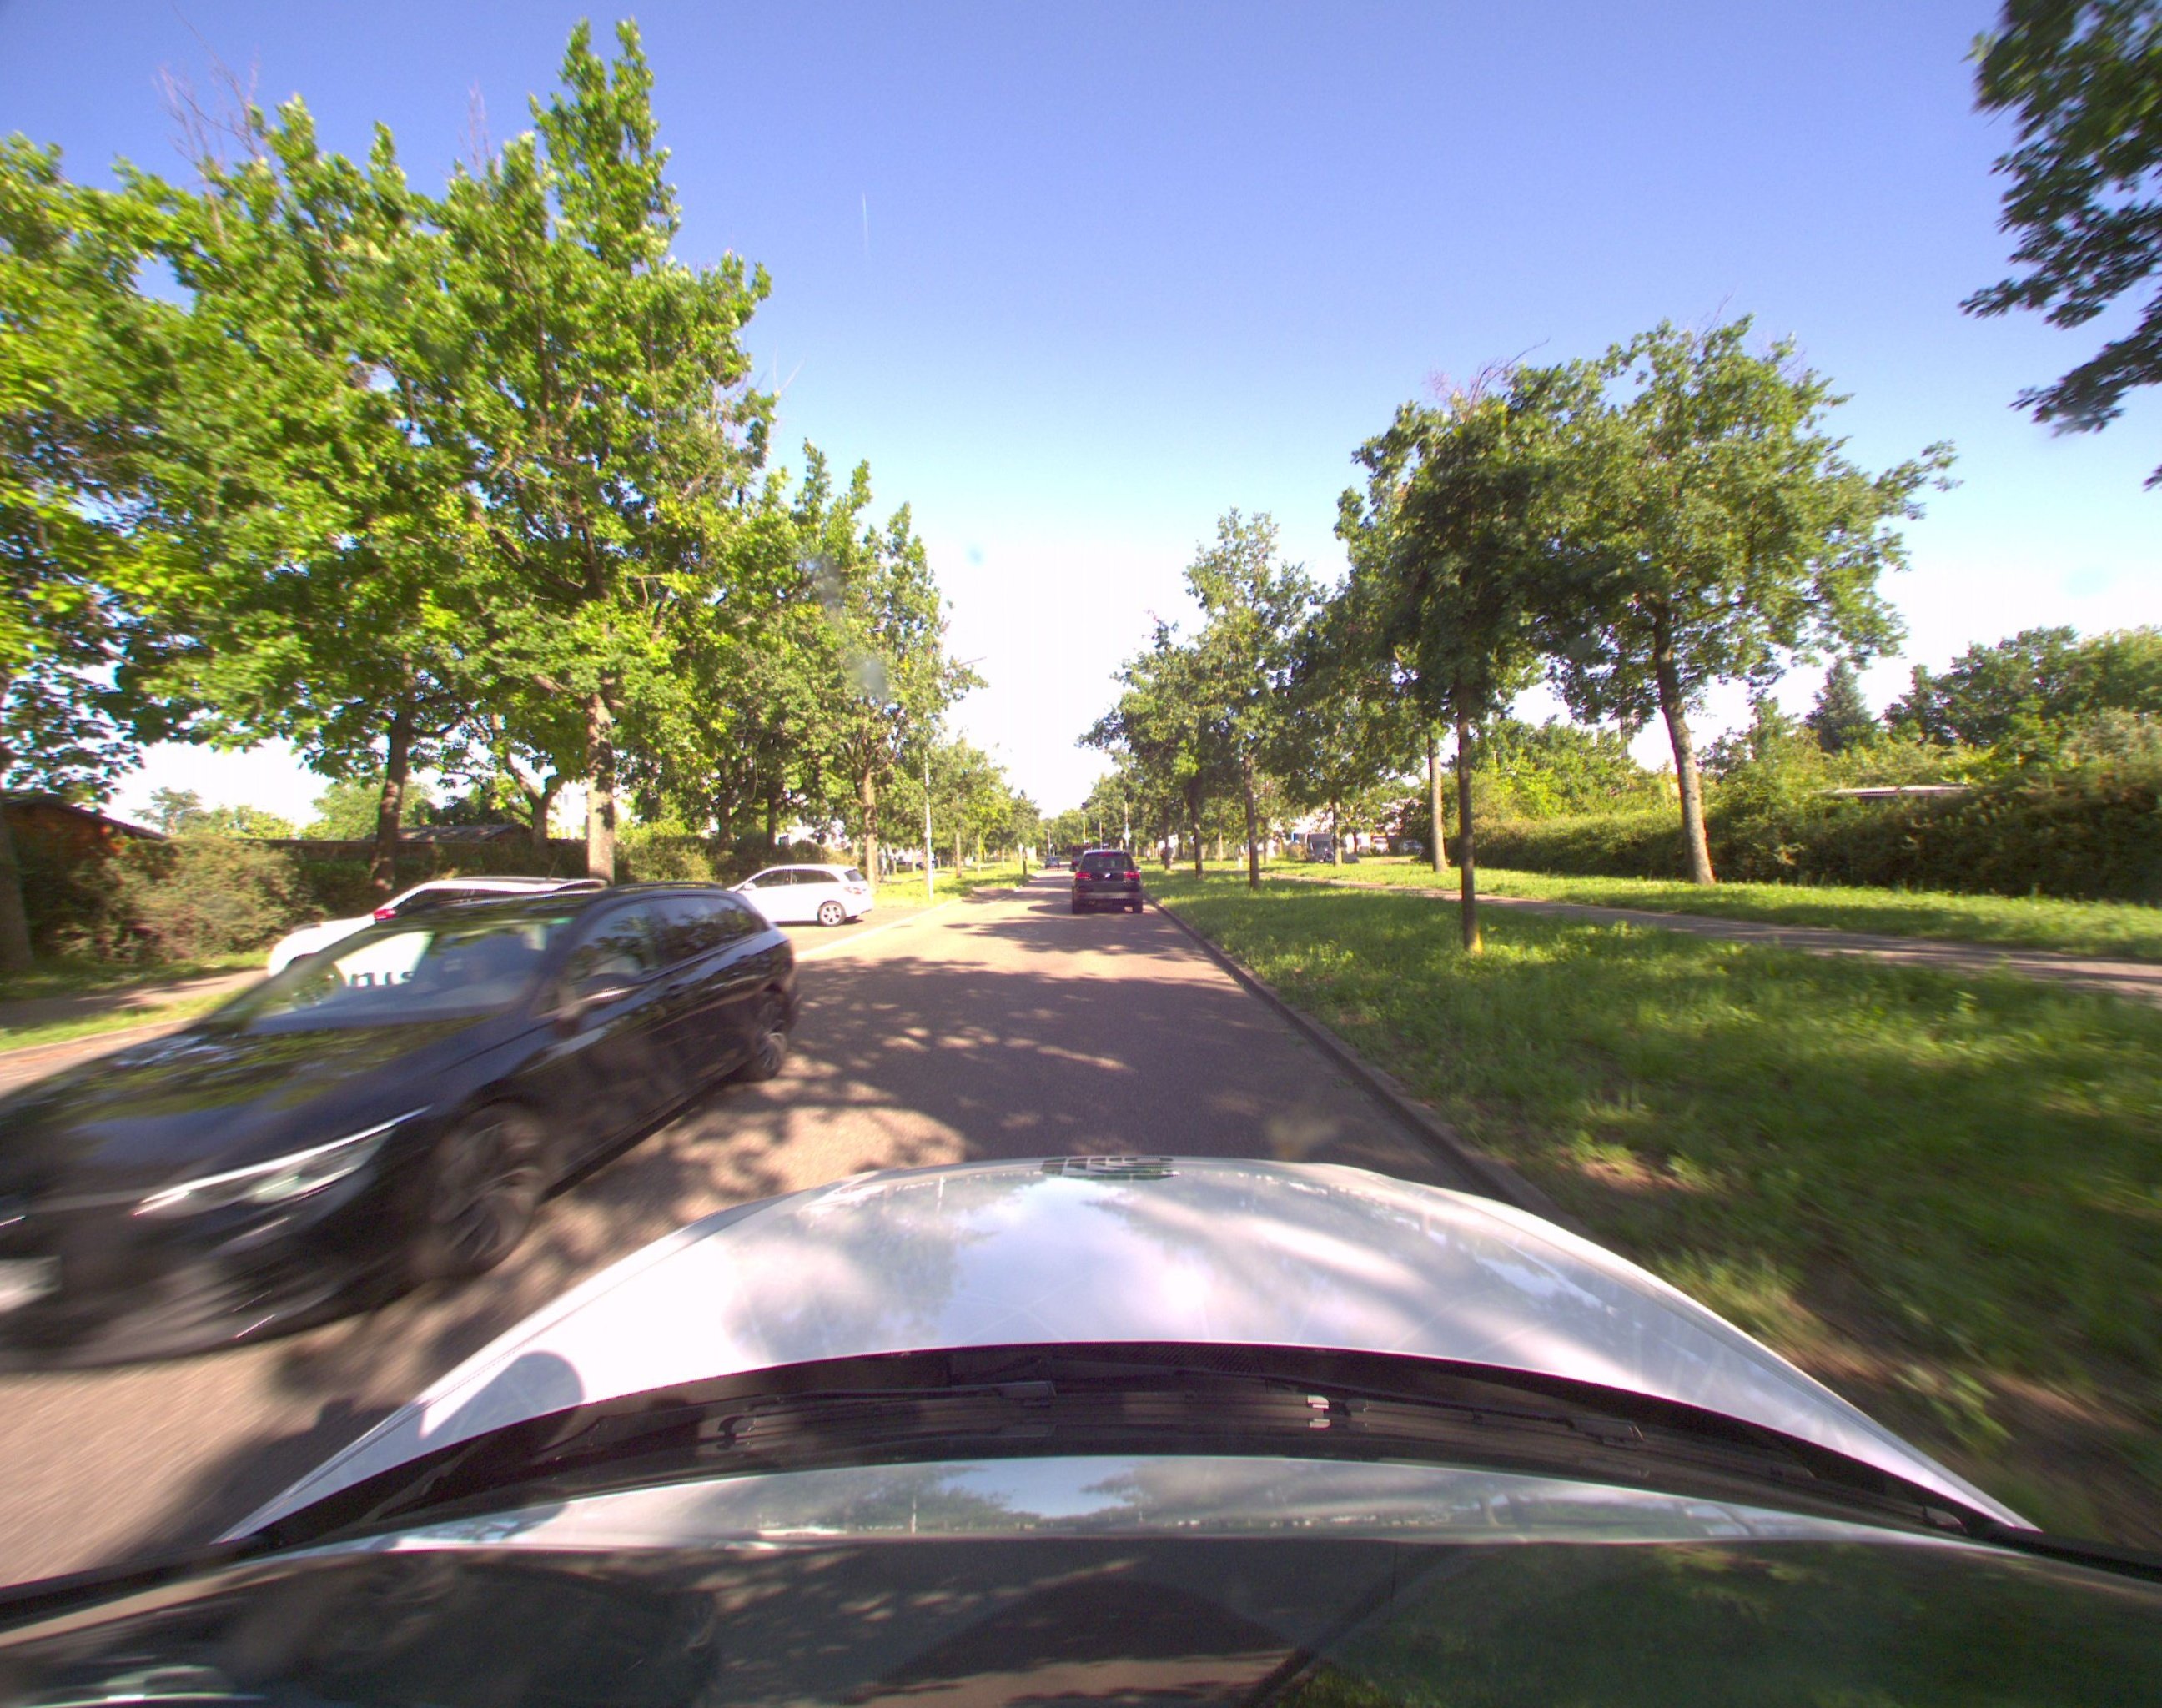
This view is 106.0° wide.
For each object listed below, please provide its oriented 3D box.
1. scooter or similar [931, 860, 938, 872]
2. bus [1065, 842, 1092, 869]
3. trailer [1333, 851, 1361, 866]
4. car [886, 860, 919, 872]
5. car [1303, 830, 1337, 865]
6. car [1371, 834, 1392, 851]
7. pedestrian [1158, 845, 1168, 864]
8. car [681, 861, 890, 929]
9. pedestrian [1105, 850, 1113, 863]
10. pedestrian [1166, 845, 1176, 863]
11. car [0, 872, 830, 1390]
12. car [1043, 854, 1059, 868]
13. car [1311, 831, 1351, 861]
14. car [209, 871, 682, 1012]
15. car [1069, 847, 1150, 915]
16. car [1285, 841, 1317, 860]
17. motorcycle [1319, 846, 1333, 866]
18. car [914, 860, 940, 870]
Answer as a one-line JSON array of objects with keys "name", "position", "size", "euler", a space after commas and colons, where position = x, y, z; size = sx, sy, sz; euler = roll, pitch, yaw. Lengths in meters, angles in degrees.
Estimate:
[{"name": "scooter or similar", "position": [-15.467, 1.252, 86.042], "size": [0.393, 1.279, 1.440], "euler": [-2, 0, 0]}, {"name": "bus", "position": [-0.390, 0.120, 112.991], "size": [2.759, 3.456, 11.192], "euler": [-2, 0, -4]}, {"name": "trailer", "position": [18.042, 0.302, 55.302], "size": [1.568, 0.868, 2.060], "euler": [-2, -4, 11]}, {"name": "car", "position": [-24.321, 1.593, 111.151], "size": [3.976, 1.401, 1.975], "euler": [-3, 0, -43]}, {"name": "car", "position": [19.766, -0.619, 67.577], "size": [2.071, 2.565, 5.991], "euler": [-1, 3, 11]}, {"name": "car", "position": [32.114, -1.222, 87.163], "size": [1.821, 1.640, 4.017], "euler": [-3, 0, 16]}, {"name": "pedestrian", "position": [7.756, 0.043, 76.897], "size": [0.724, 1.812, 0.867], "euler": [-2, 2, -2]}, {"name": "car", "position": [-7.546, 1.022, 21.223], "size": [4.616, 1.558, 2.189], "euler": [-1, 0, -4]}, {"name": "pedestrian", "position": [3.730, 0.368, 108.165], "size": [1.017, 1.651, 1.099], "euler": [-2, 0, -2]}, {"name": "pedestrian", "position": [9.449, 0.009, 85.575], "size": [0.724, 1.755, 0.867], "euler": [-4, 0, -1]}, {"name": "car", "position": [-3.066, 0.920, 4.718], "size": [1.678, 1.402, 4.428], "euler": [-3, 0, 1]}, {"name": "car", "position": [-3.620, 0.894, 99.821], "size": [1.760, 1.528, 4.493], "euler": [-4, 1, -1]}, {"name": "car", "position": [23.860, -0.742, 77.869], "size": [2.154, 2.643, 4.848], "euler": [-3, 0, -1]}, {"name": "car", "position": [-7.904, 1.044, 10.523], "size": [4.398, 1.511, 2.088], "euler": [-1, 0, 0]}, {"name": "car", "position": [0.680, 0.657, 22.397], "size": [1.931, 1.656, 4.424], "euler": [-1, 0, -2]}, {"name": "car", "position": [21.270, -0.322, 78.822], "size": [2.000, 1.664, 3.595], "euler": [-3, 0, -1]}, {"name": "motorcycle", "position": [17.201, 0.143, 57.227], "size": [0.658, 1.231, 2.412], "euler": [-2, -4, 10]}, {"name": "car", "position": [-25.911, 1.842, 137.387], "size": [3.716, 1.618, 1.971], "euler": [-2, 0, 13]}]
